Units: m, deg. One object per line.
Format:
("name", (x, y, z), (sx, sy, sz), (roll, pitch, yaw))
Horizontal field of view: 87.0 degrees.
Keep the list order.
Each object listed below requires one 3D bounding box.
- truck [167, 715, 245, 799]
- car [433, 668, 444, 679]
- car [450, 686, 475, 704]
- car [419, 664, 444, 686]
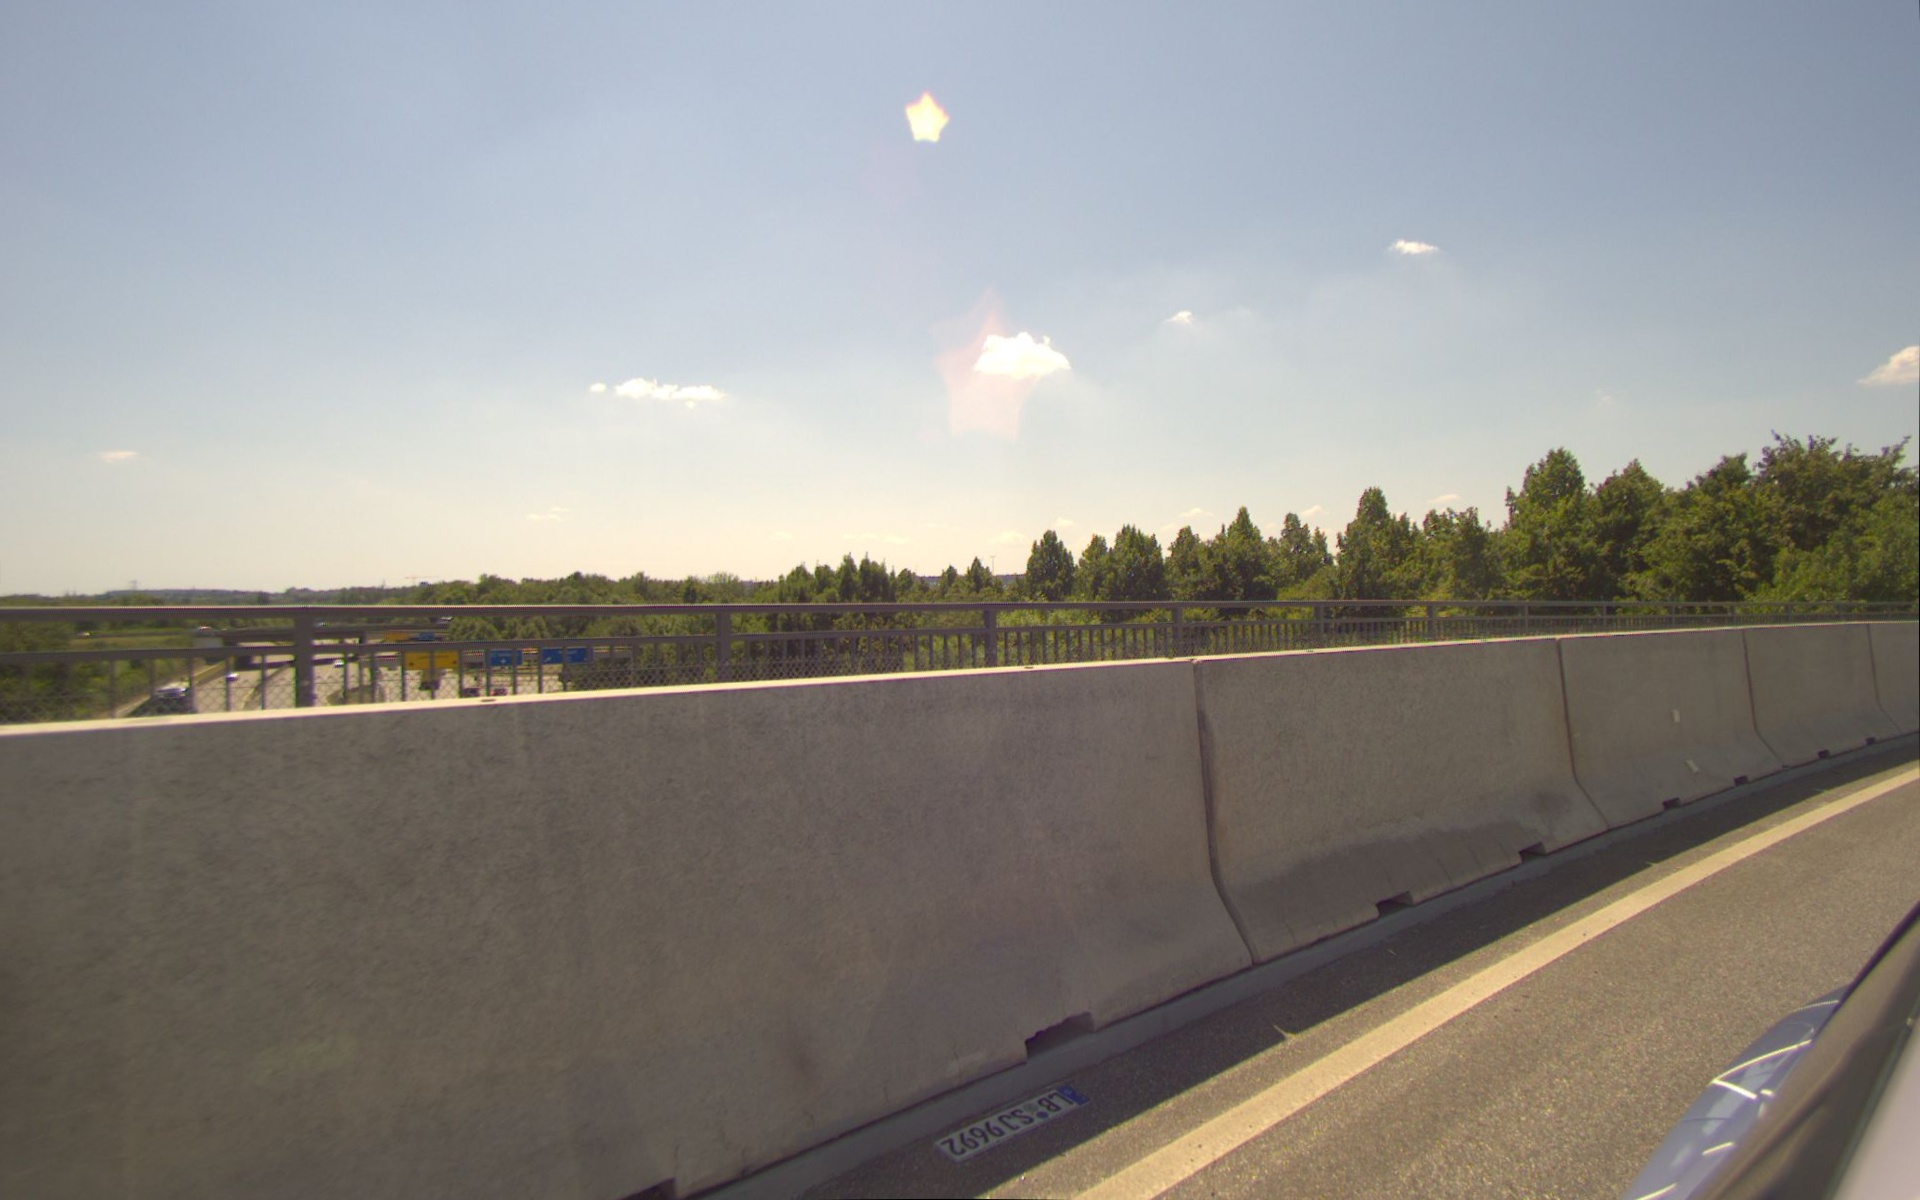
("truck", (-45.300, 9.265, 61.002), (2.722, 4.094, 9.357), (-1, -3, -30))
("car", (-94.599, 13.285, 183.500), (1.645, 1.899, 4.001), (0, -3, -30))
("car", (-61.856, 11.808, 125.843), (2.310, 2.040, 4.763), (0, -3, -32))
("car", (-78.245, 11.084, 149.713), (2.865, 3.120, 7.378), (0, -3, -31))
